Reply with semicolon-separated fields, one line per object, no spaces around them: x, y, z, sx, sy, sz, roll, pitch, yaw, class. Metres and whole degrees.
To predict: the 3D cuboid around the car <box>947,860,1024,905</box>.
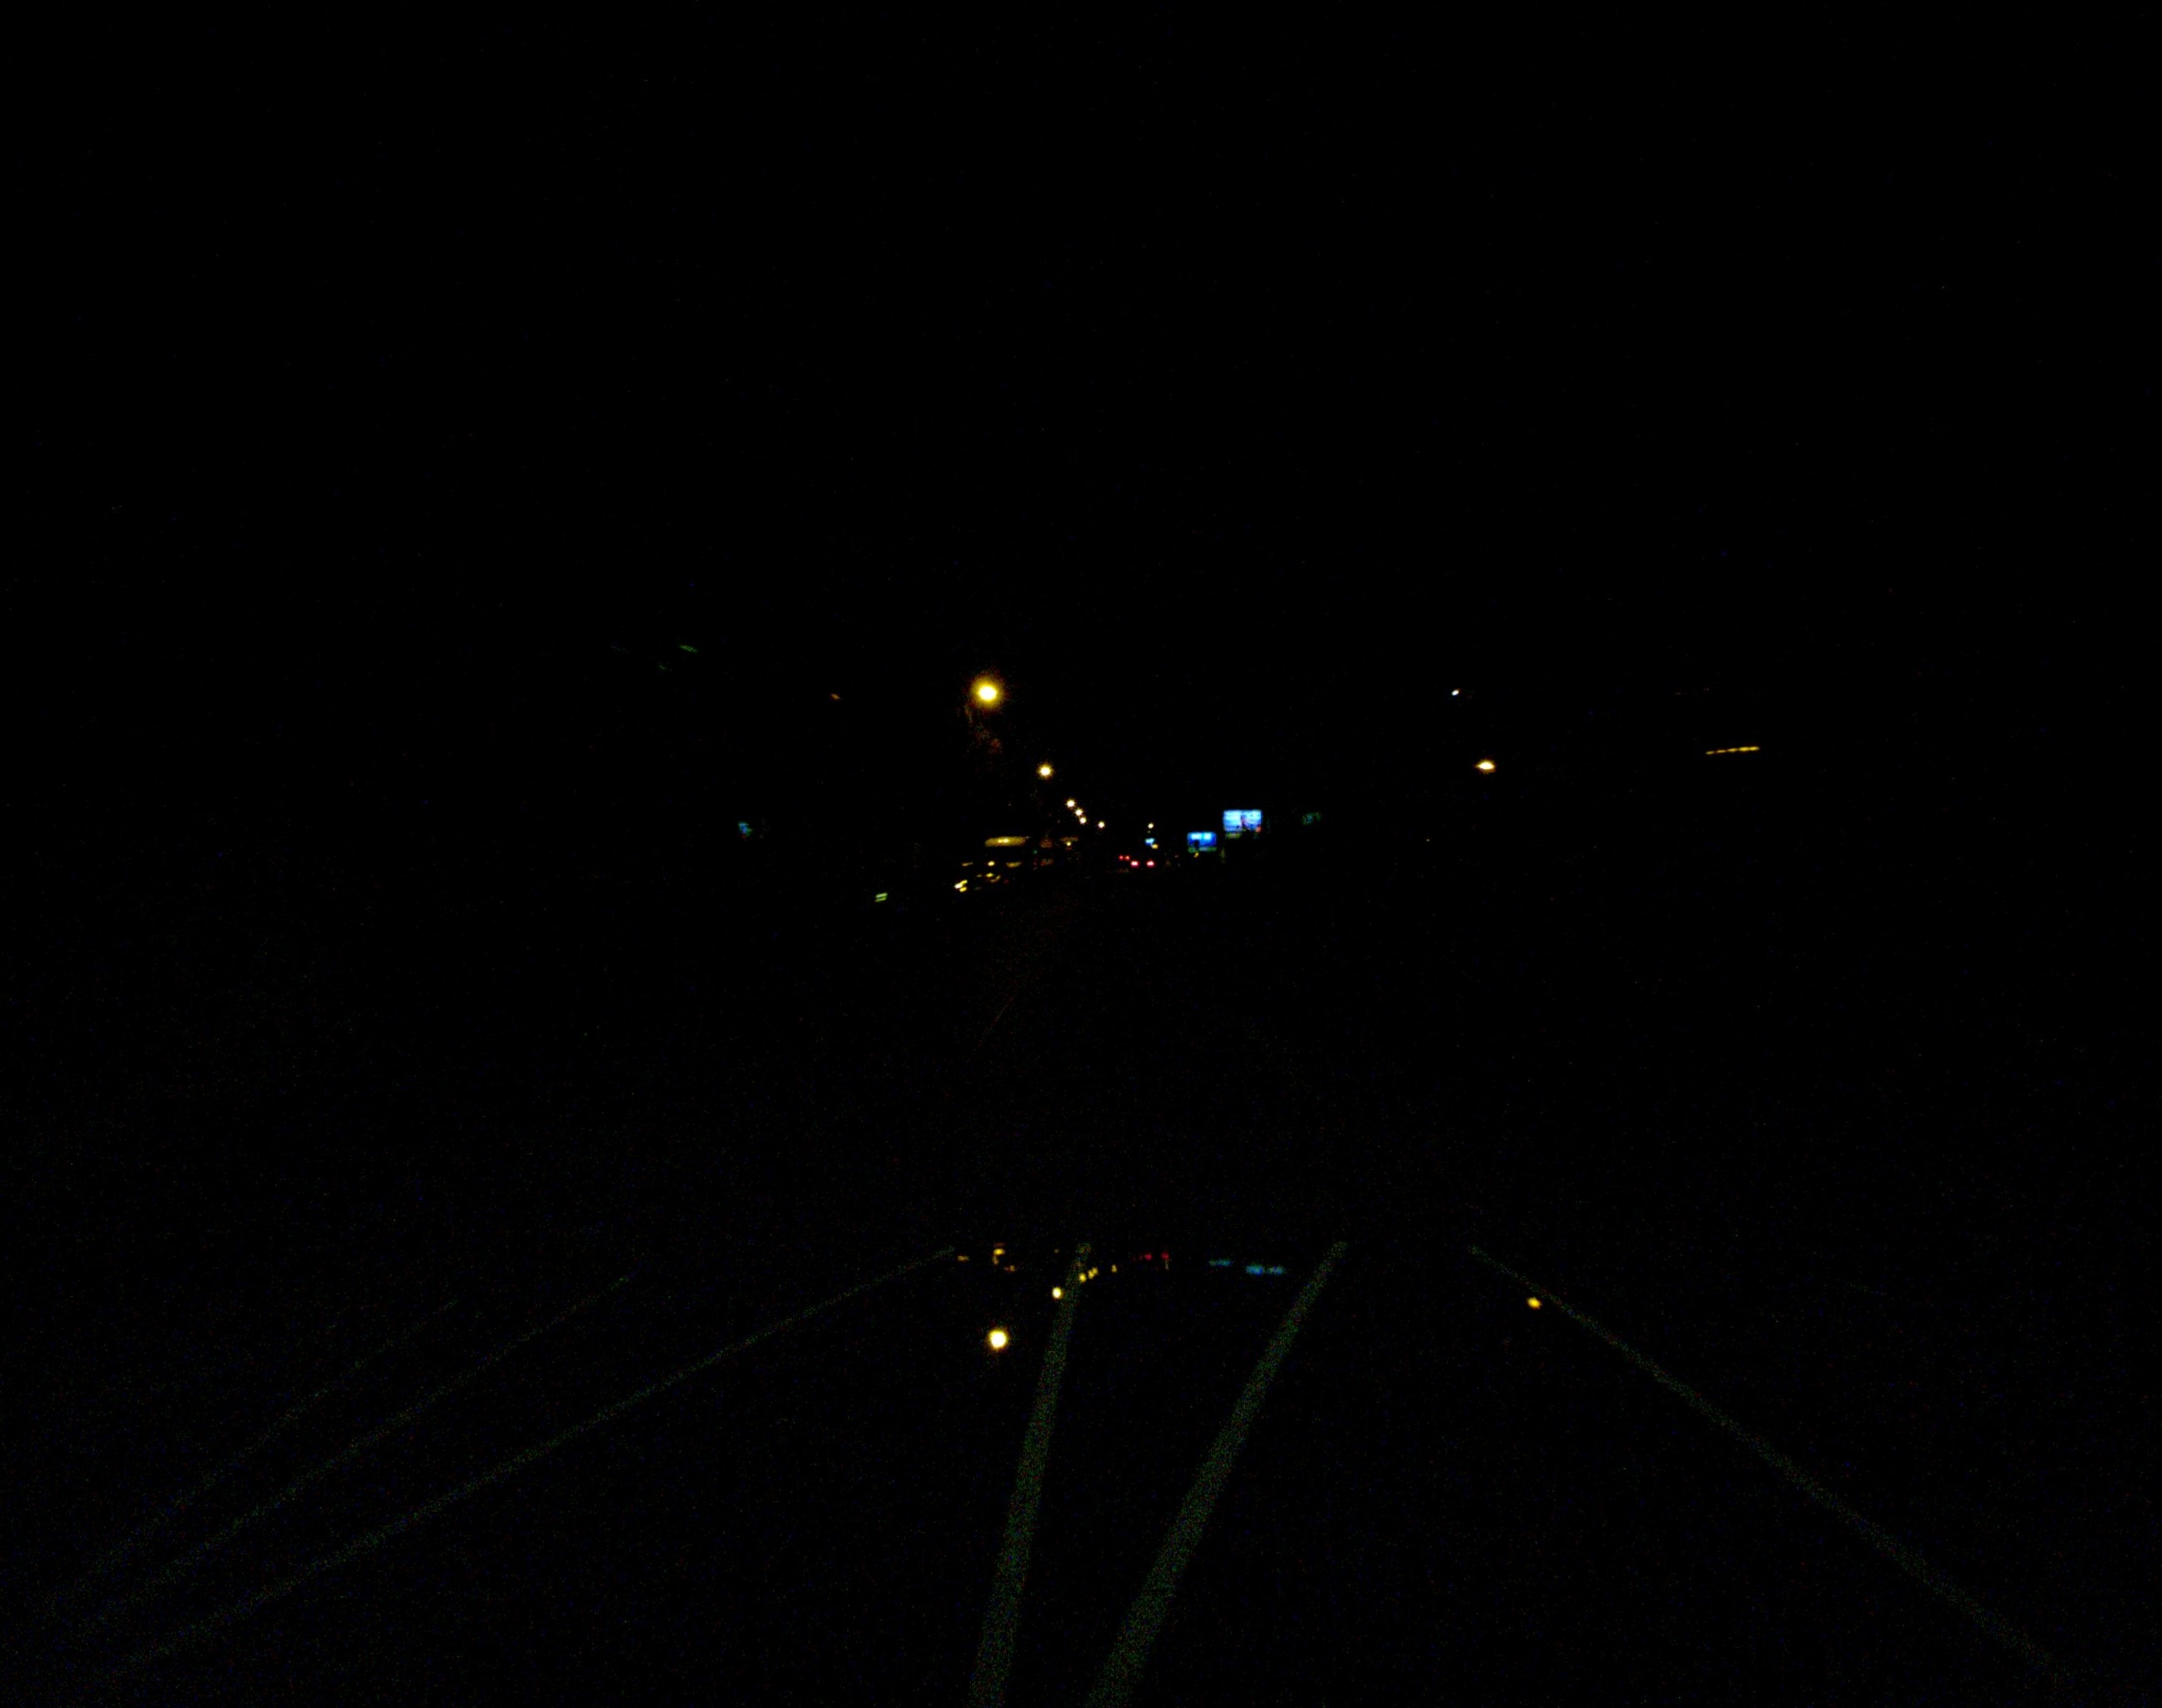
-3.240;0.935;26.709;1.773;1.404;4.552;-1;0;5;car

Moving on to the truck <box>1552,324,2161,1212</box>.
6.262;-0.400;3.098;2.753;4.010;9.560;-1;0;0;truck

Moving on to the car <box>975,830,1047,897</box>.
-2.903;0.377;33.006;1.998;2.511;5.911;-4;0;5;car

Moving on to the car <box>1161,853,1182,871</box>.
9.606;0.835;80.770;1.808;1.788;4.879;-1;0;3;car

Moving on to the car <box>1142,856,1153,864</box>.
11.727;0.998;133.712;1.760;1.382;4.310;-1;0;4;car

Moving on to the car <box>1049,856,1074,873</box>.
-1.748;0.904;68.747;1.834;1.399;4.909;-4;0;2;car

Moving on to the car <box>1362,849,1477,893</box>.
13.903;0.702;31.469;4.133;1.423;1.899;-5;-1;20;car

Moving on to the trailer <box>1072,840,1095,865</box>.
0.421;-0.143;112.163;2.885;3.503;8.285;-1;0;3;trailer

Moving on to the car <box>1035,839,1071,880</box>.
-1.904;0.368;53.705;1.998;2.556;6.015;-4;0;2;car

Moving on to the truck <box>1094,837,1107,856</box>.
4.370;-1.594;170.232;2.659;3.850;10.235;-2;-2;3;truck

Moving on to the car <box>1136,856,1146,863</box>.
12.059;1.034;152.828;1.690;1.357;3.879;-2;0;3;car

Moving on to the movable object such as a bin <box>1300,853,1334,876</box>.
16.128;0.718;51.932;1.862;1.491;1.609;-1;0;3;movable object such as a bin

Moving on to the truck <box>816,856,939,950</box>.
-3.975;0.878;15.399;1.373;1.635;3.812;-1;0;1;truck

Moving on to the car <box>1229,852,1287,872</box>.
15.027;0.668;64.459;4.419;1.551;1.996;-1;0;-22;car

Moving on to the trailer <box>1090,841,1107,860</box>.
4.459;-0.882;190.877;3.072;4.449;13.416;-2;0;6;trailer

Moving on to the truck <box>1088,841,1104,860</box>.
3.694;-0.804;184.182;3.072;4.449;5.637;-2;1;6;truck

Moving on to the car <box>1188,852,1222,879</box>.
8.951;0.821;55.036;1.818;1.838;4.415;-1;0;1;car

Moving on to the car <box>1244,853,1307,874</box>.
14.428;0.670;56.204;4.421;1.432;1.789;-1;0;-27;car

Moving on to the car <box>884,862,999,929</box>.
-3.531;0.996;20.279;1.951;1.480;5.011;-1;0;2;car

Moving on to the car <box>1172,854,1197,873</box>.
9.457;0.820;69.945;1.951;1.678;4.817;-1;0;4;car

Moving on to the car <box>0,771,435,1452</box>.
-4.222;0.766;1.237;1.998;2.002;4.912;0;0;2;car

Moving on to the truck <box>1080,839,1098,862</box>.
1.540;-0.584;139.363;2.797;3.946;9.822;-2;-1;2;truck

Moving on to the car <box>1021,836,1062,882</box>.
-2.387;0.300;47.254;2.133;2.556;5.909;-4;0;-1;car

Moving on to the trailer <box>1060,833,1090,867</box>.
-0.600;-0.469;92.474;2.772;3.742;14.657;-2;0;3;trailer

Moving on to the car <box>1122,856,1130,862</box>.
10.371;1.141;174.386;1.824;1.429;4.399;-1;0;3;car

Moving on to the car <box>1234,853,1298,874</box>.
14.376;0.706;58.982;4.678;1.542;1.996;-1;0;-27;car

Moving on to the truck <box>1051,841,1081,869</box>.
-1.439;0.095;76.072;2.407;2.579;6.599;-1;0;4;truck

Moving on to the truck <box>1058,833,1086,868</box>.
-0.948;-0.398;84.869;2.772;3.742;5.229;-2;1;3;truck

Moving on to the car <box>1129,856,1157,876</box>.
4.624;0.876;57.353;1.862;1.412;4.000;-1;0;1;car
